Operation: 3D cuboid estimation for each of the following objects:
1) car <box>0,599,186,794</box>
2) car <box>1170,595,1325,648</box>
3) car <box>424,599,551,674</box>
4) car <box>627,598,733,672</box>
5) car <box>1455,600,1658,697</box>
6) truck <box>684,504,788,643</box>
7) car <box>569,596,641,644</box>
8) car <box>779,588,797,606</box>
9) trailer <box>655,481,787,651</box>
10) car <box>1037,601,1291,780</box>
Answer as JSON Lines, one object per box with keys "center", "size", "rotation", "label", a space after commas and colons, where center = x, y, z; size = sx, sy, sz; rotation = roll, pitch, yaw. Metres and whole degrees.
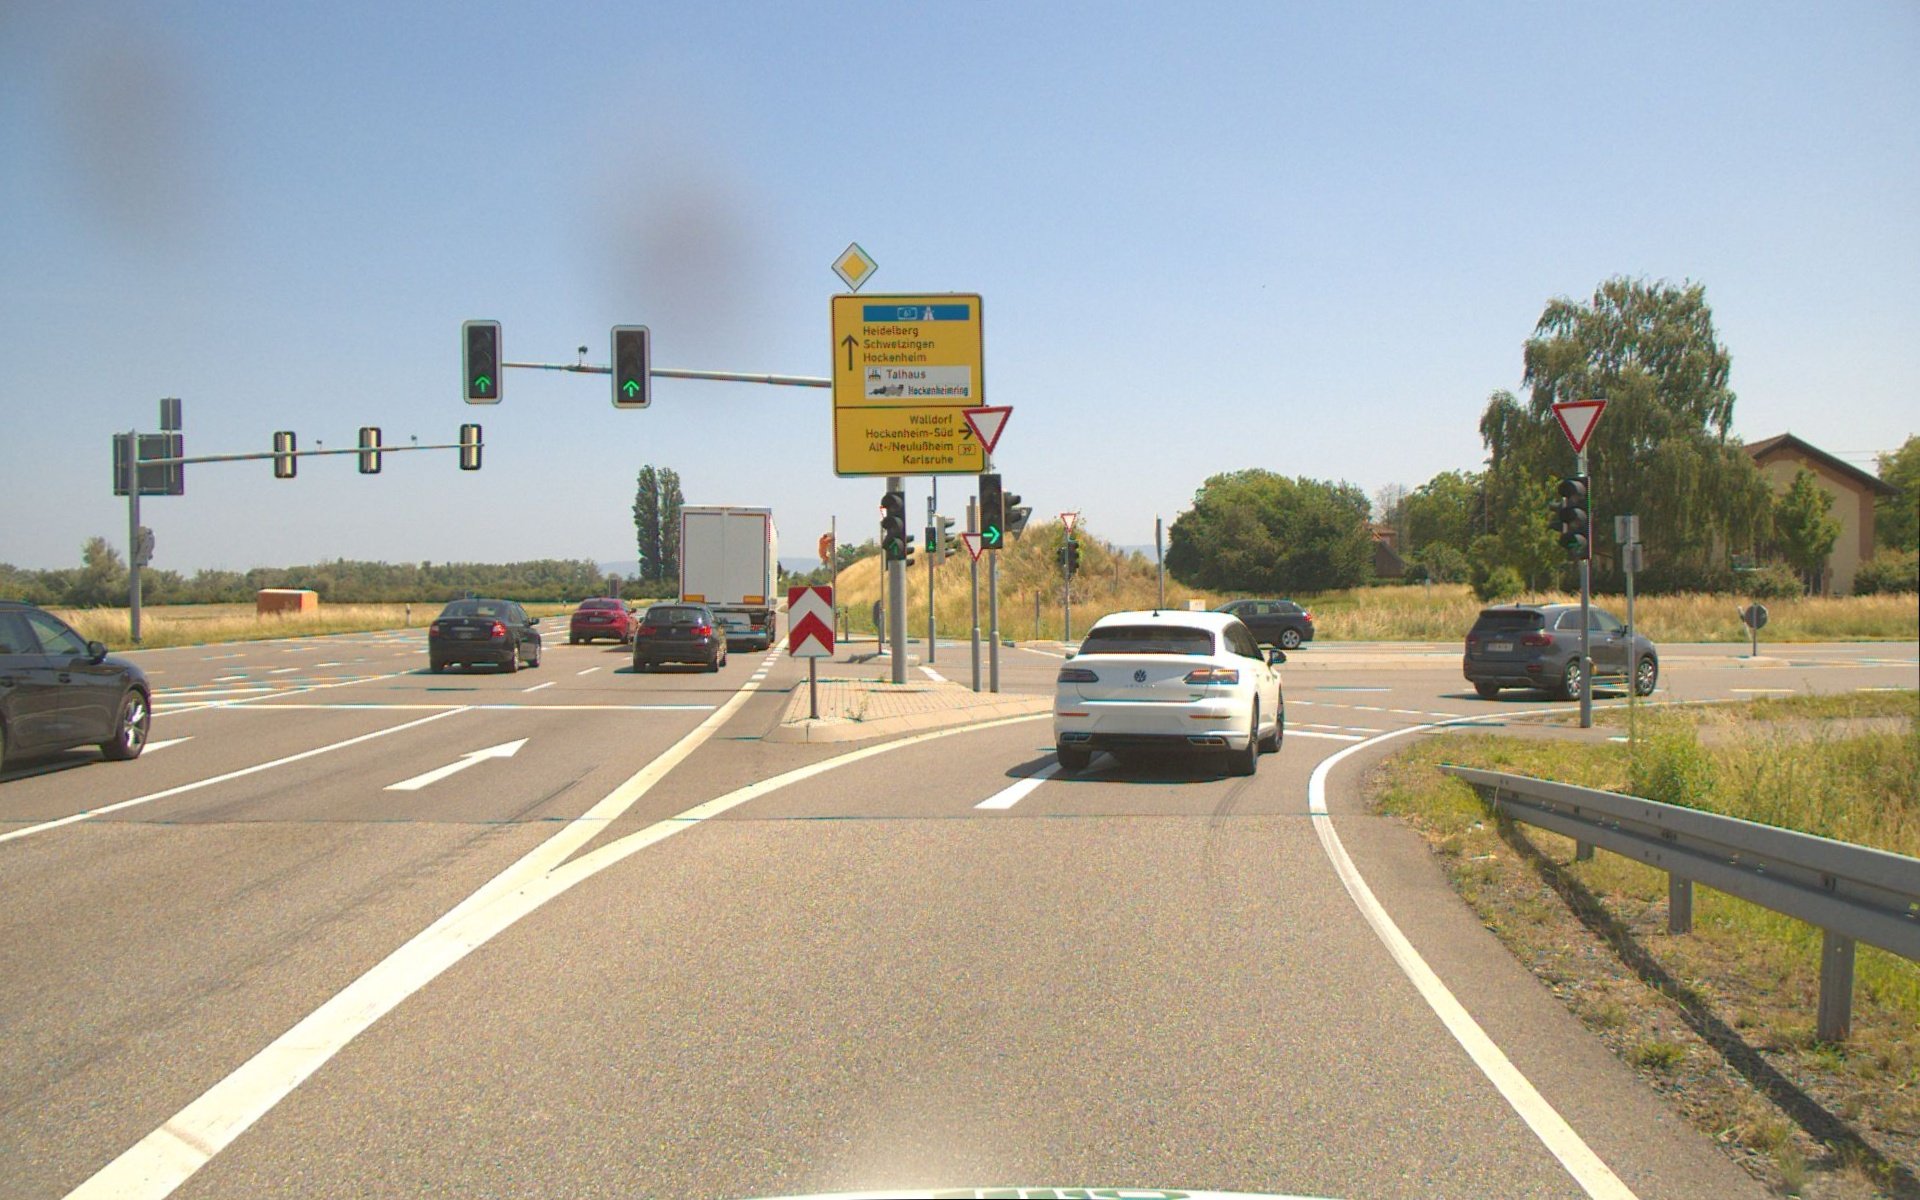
{"center": [-8.201, 0.726, 13.463], "size": [1.851, 1.472, 4.523], "rotation": [0, 0, -3], "label": "car"}
{"center": [8.292, 0.607, 47.898], "size": [4.173, 1.392, 1.776], "rotation": [-1, 1, -1], "label": "car"}
{"center": [-9.689, 0.721, 34.245], "size": [1.642, 1.436, 4.463], "rotation": [0, 0, -4], "label": "car"}
{"center": [-5.926, 0.698, 35.449], "size": [1.749, 1.456, 4.378], "rotation": [1, 0, -3], "label": "car"}
{"center": [11.038, 0.849, 30.429], "size": [1.908, 1.645, 4.347], "rotation": [0, -1, 44], "label": "car"}
{"center": [-7.854, -0.893, 58.756], "size": [3.315, 4.622, 6.365], "rotation": [1, 0, -5], "label": "truck"}
{"center": [-11.557, 0.625, 54.068], "size": [1.715, 1.446, 4.561], "rotation": [1, 0, -5], "label": "car"}
{"center": [-18.775, -0.322, 180.426], "size": [1.942, 1.902, 4.460], "rotation": [0, 0, -7], "label": "car"}
{"center": [-7.251, -0.918, 52.002], "size": [3.315, 4.622, 12.857], "rotation": [1, 0, -5], "label": "trailer"}
{"center": [2.134, 0.766, 16.076], "size": [1.808, 1.458, 4.611], "rotation": [0, 0, 15], "label": "car"}
